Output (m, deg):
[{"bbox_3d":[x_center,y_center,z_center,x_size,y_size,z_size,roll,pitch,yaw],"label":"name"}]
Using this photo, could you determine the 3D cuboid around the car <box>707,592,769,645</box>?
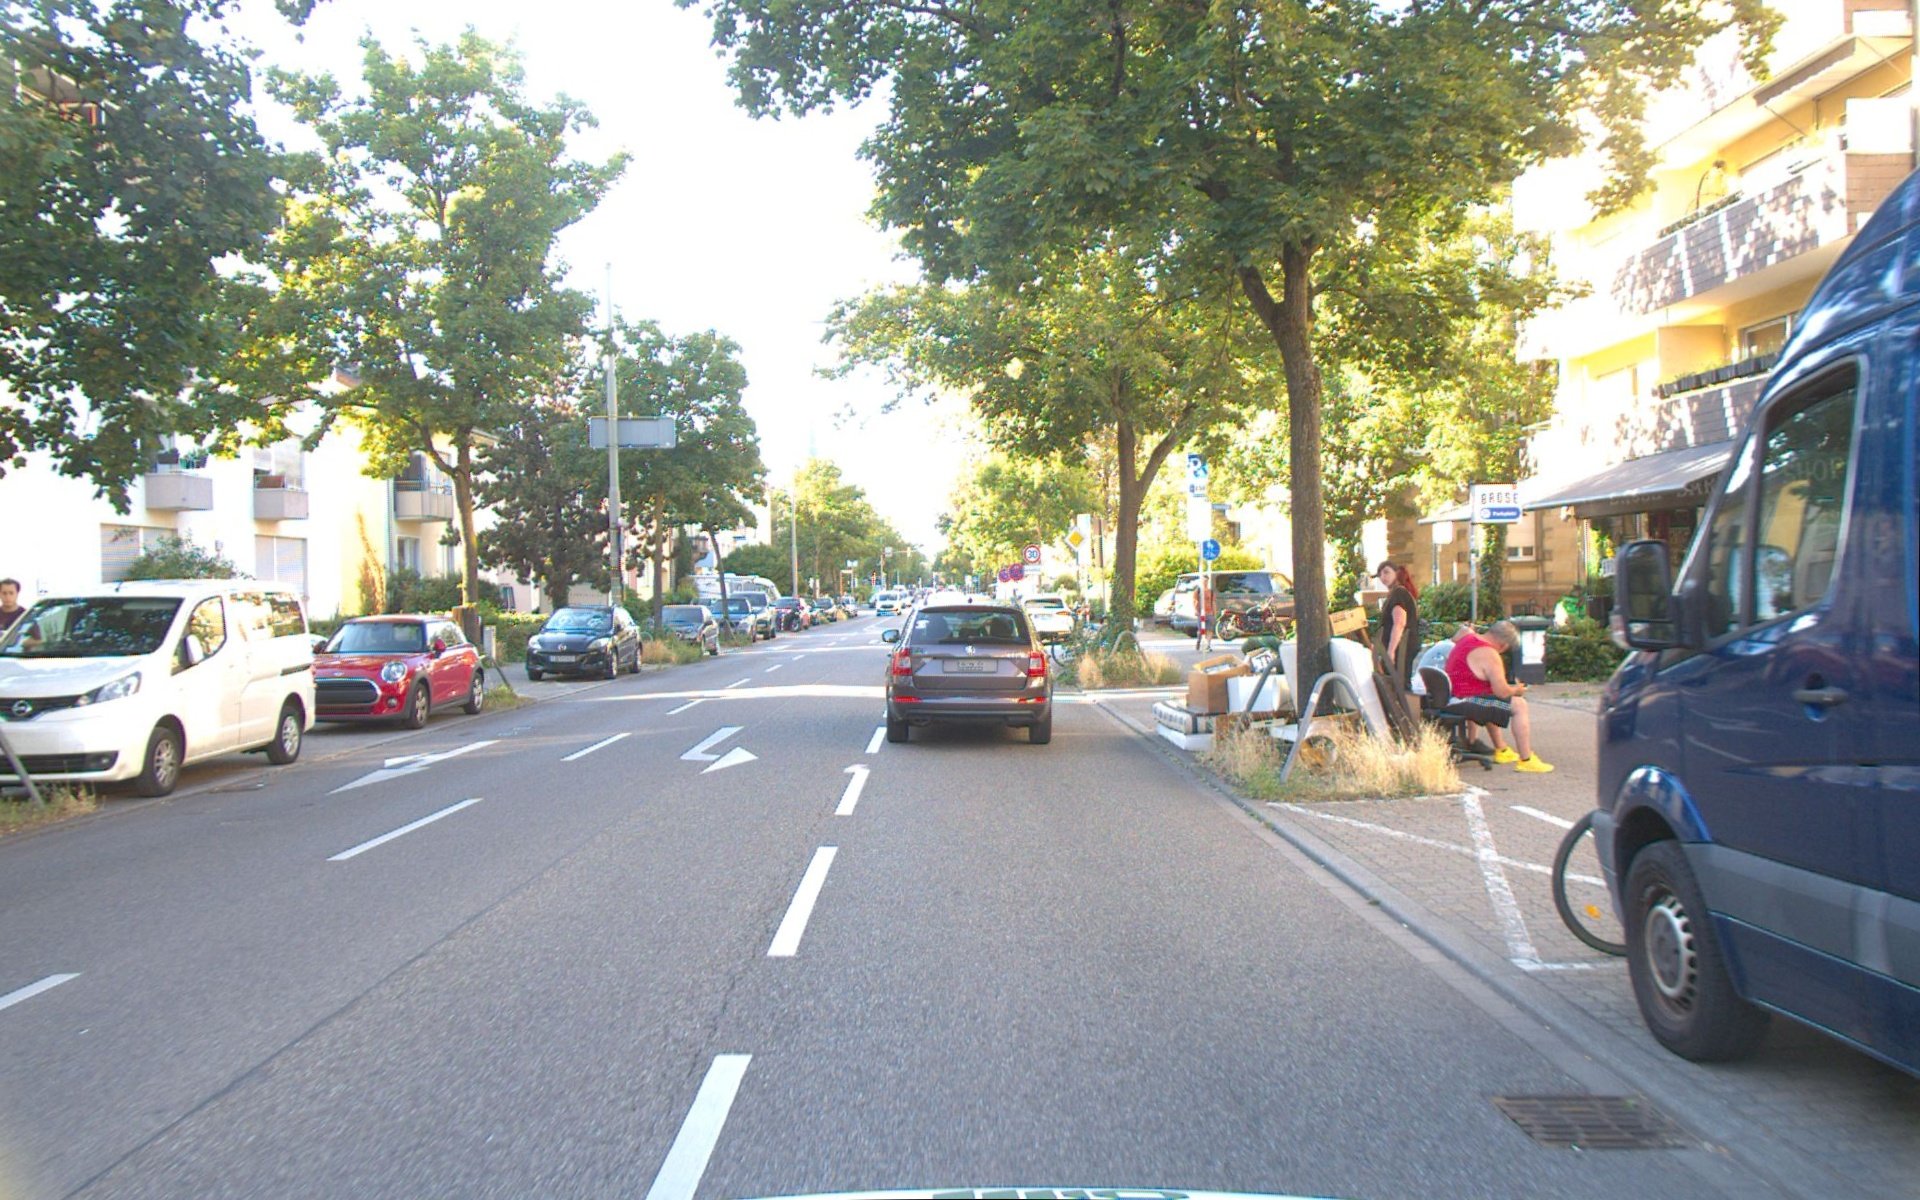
[{"bbox_3d":[-7.886,0.635,58.911,1.714,1.771,3.590,-2,1,-1],"label":"car"}]

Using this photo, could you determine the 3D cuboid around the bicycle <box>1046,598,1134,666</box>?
[{"bbox_3d":[2.640,0.652,33.469,1.635,1.247,0.636,-4,0,12],"label":"bicycle"}]

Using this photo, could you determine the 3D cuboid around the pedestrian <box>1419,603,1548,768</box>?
[{"bbox_3d":[4.243,0.676,13.440,0.781,1.276,0.700,-2,1,-3],"label":"pedestrian"}]

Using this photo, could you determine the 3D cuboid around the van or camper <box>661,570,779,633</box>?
[{"bbox_3d":[-15.921,0.054,110.072,7.487,3.942,1.999,-2,1,-3],"label":"van or camper"}]

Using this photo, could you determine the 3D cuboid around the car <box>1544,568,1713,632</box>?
[{"bbox_3d":[18.286,-0.016,45.350,3.837,1.612,1.929,-2,1,0],"label":"car"}]

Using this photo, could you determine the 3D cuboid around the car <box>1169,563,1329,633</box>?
[{"bbox_3d":[8.615,-0.082,49.264,4.482,1.926,1.897,-2,1,-29],"label":"car"}]

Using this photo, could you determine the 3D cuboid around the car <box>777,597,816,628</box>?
[{"bbox_3d":[-8.352,0.614,84.643,1.630,1.457,3.275,-2,1,-1],"label":"car"}]

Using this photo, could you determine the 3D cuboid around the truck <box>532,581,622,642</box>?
[{"bbox_3d":[-13.931,0.399,60.273,2.854,2.130,1.546,-2,1,-1],"label":"truck"}]

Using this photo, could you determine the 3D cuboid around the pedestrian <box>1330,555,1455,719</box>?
[{"bbox_3d":[4.143,0.340,15.850,1.046,1.502,0.476,-2,1,-20],"label":"pedestrian"}]

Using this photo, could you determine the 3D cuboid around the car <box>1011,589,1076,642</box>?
[{"bbox_3d":[2.458,0.421,49.226,1.783,1.437,4.112,-2,1,1],"label":"car"}]

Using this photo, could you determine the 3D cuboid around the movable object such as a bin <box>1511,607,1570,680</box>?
[{"bbox_3d":[7.947,0.589,22.638,0.600,0.966,0.539,-1,1,0],"label":"movable object such as a bin"}]

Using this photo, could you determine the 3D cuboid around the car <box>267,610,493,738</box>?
[{"bbox_3d":[-7.661,0.917,22.216,1.682,1.445,3.786,-2,1,-1],"label":"car"}]

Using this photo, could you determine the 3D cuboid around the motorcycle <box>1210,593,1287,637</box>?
[{"bbox_3d":[7.956,0.421,45.674,2.012,1.144,0.525,-2,1,-6],"label":"motorcycle"}]

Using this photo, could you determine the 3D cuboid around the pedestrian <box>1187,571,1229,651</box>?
[{"bbox_3d":[5.738,0.244,38.330,0.741,1.827,0.905,-2,1,-6],"label":"pedestrian"}]

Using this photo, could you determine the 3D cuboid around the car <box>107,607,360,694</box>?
[{"bbox_3d":[-13.646,0.923,31.278,3.909,1.505,1.998,-1,1,-5],"label":"car"}]

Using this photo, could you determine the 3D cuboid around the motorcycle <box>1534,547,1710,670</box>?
[{"bbox_3d":[9.312,0.116,23.319,2.148,1.649,0.731,-1,1,6],"label":"motorcycle"}]

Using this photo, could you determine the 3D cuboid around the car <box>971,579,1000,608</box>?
[{"bbox_3d":[1.666,-0.434,108.902,1.695,1.846,3.949,-2,1,-2],"label":"car"}]

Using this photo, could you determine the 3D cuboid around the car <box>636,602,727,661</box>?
[{"bbox_3d":[-7.619,0.824,45.658,1.718,1.445,4.425,-2,1,0],"label":"car"}]

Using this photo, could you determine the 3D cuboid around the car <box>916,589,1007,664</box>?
[{"bbox_3d":[-0.017,0.540,36.872,1.695,1.520,3.947,-2,1,-4],"label":"car"}]

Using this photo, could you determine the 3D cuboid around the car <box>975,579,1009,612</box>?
[{"bbox_3d":[1.843,-0.260,96.412,1.695,1.846,3.949,-2,1,-2],"label":"car"}]

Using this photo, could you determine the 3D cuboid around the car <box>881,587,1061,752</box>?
[{"bbox_3d":[0.117,0.655,17.878,1.694,1.520,3.951,-2,1,0],"label":"car"}]

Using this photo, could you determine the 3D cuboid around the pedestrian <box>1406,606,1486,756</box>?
[{"bbox_3d":[4.313,0.707,14.672,0.639,1.276,0.658,-1,1,18],"label":"pedestrian"}]

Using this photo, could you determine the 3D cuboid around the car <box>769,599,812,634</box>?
[{"bbox_3d":[-8.083,0.752,78.958,1.630,1.538,4.178,-2,1,-1],"label":"car"}]

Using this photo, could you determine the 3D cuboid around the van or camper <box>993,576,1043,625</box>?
[{"bbox_3d":[2.535,0.002,73.125,1.953,2.049,4.000,-2,1,-1],"label":"van or camper"}]

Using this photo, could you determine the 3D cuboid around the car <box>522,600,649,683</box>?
[{"bbox_3d":[-7.736,0.813,34.509,1.682,1.523,4.247,-2,1,-1],"label":"car"}]

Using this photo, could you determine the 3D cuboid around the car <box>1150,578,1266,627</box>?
[{"bbox_3d":[8.593,0.078,57.385,3.748,1.552,1.501,-2,1,-23],"label":"car"}]

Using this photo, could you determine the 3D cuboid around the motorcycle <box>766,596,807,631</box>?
[{"bbox_3d":[-7.768,0.600,74.016,0.760,1.538,1.998,-2,1,-43],"label":"motorcycle"}]

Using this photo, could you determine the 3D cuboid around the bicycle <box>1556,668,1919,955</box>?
[{"bbox_3d":[3.409,0.868,6.909,1.666,1.108,0.404,-2,1,2],"label":"bicycle"}]

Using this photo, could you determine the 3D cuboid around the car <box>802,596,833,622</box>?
[{"bbox_3d":[-8.621,0.556,100.411,1.630,1.457,3.275,-2,1,-1],"label":"car"}]

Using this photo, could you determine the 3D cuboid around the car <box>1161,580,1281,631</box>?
[{"bbox_3d":[8.716,0.183,55.222,3.748,1.552,1.501,-2,1,-23],"label":"car"}]

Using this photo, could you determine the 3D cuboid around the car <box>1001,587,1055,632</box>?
[{"bbox_3d":[2.349,0.310,57.709,1.783,1.437,4.112,-2,1,1],"label":"car"}]

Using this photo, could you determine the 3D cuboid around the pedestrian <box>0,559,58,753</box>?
[{"bbox_3d":[-10.229,0.590,17.822,0.614,2.049,0.616,-1,0,-1],"label":"pedestrian"}]

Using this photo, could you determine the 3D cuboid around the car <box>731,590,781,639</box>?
[{"bbox_3d":[-7.838,0.525,63.664,1.476,1.788,3.693,-2,1,-1],"label":"car"}]

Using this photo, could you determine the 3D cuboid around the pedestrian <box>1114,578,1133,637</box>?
[{"bbox_3d":[5.174,0.231,52.393,0.524,1.825,0.688,-1,1,1],"label":"pedestrian"}]

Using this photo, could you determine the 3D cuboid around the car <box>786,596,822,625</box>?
[{"bbox_3d":[-8.375,0.543,89.187,1.630,1.457,3.275,-2,1,-1],"label":"car"}]

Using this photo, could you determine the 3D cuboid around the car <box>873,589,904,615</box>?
[{"bbox_3d":[-5.346,0.149,123.620,1.837,1.788,4.181,-1,1,4],"label":"car"}]

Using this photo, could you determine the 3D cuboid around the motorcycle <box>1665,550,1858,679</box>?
[{"bbox_3d":[10.793,0.191,22.338,2.148,1.649,0.890,-1,1,6],"label":"motorcycle"}]

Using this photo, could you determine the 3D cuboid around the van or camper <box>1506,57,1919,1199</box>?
[{"bbox_3d":[3.238,0.093,3.583,2.025,2.722,5.989,-2,0,-1],"label":"van or camper"}]

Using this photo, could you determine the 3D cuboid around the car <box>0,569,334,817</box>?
[{"bbox_3d":[-7.557,0.723,15.423,1.734,1.952,4.459,-2,1,-1],"label":"car"}]

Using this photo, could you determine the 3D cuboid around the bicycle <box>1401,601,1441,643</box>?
[{"bbox_3d":[10.855,0.504,38.992,0.335,0.967,1.580,1,0,-6],"label":"bicycle"}]

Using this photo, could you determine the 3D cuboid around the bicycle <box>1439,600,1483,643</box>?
[{"bbox_3d":[11.620,0.489,38.416,0.335,0.967,1.580,-4,0,-6],"label":"bicycle"}]
